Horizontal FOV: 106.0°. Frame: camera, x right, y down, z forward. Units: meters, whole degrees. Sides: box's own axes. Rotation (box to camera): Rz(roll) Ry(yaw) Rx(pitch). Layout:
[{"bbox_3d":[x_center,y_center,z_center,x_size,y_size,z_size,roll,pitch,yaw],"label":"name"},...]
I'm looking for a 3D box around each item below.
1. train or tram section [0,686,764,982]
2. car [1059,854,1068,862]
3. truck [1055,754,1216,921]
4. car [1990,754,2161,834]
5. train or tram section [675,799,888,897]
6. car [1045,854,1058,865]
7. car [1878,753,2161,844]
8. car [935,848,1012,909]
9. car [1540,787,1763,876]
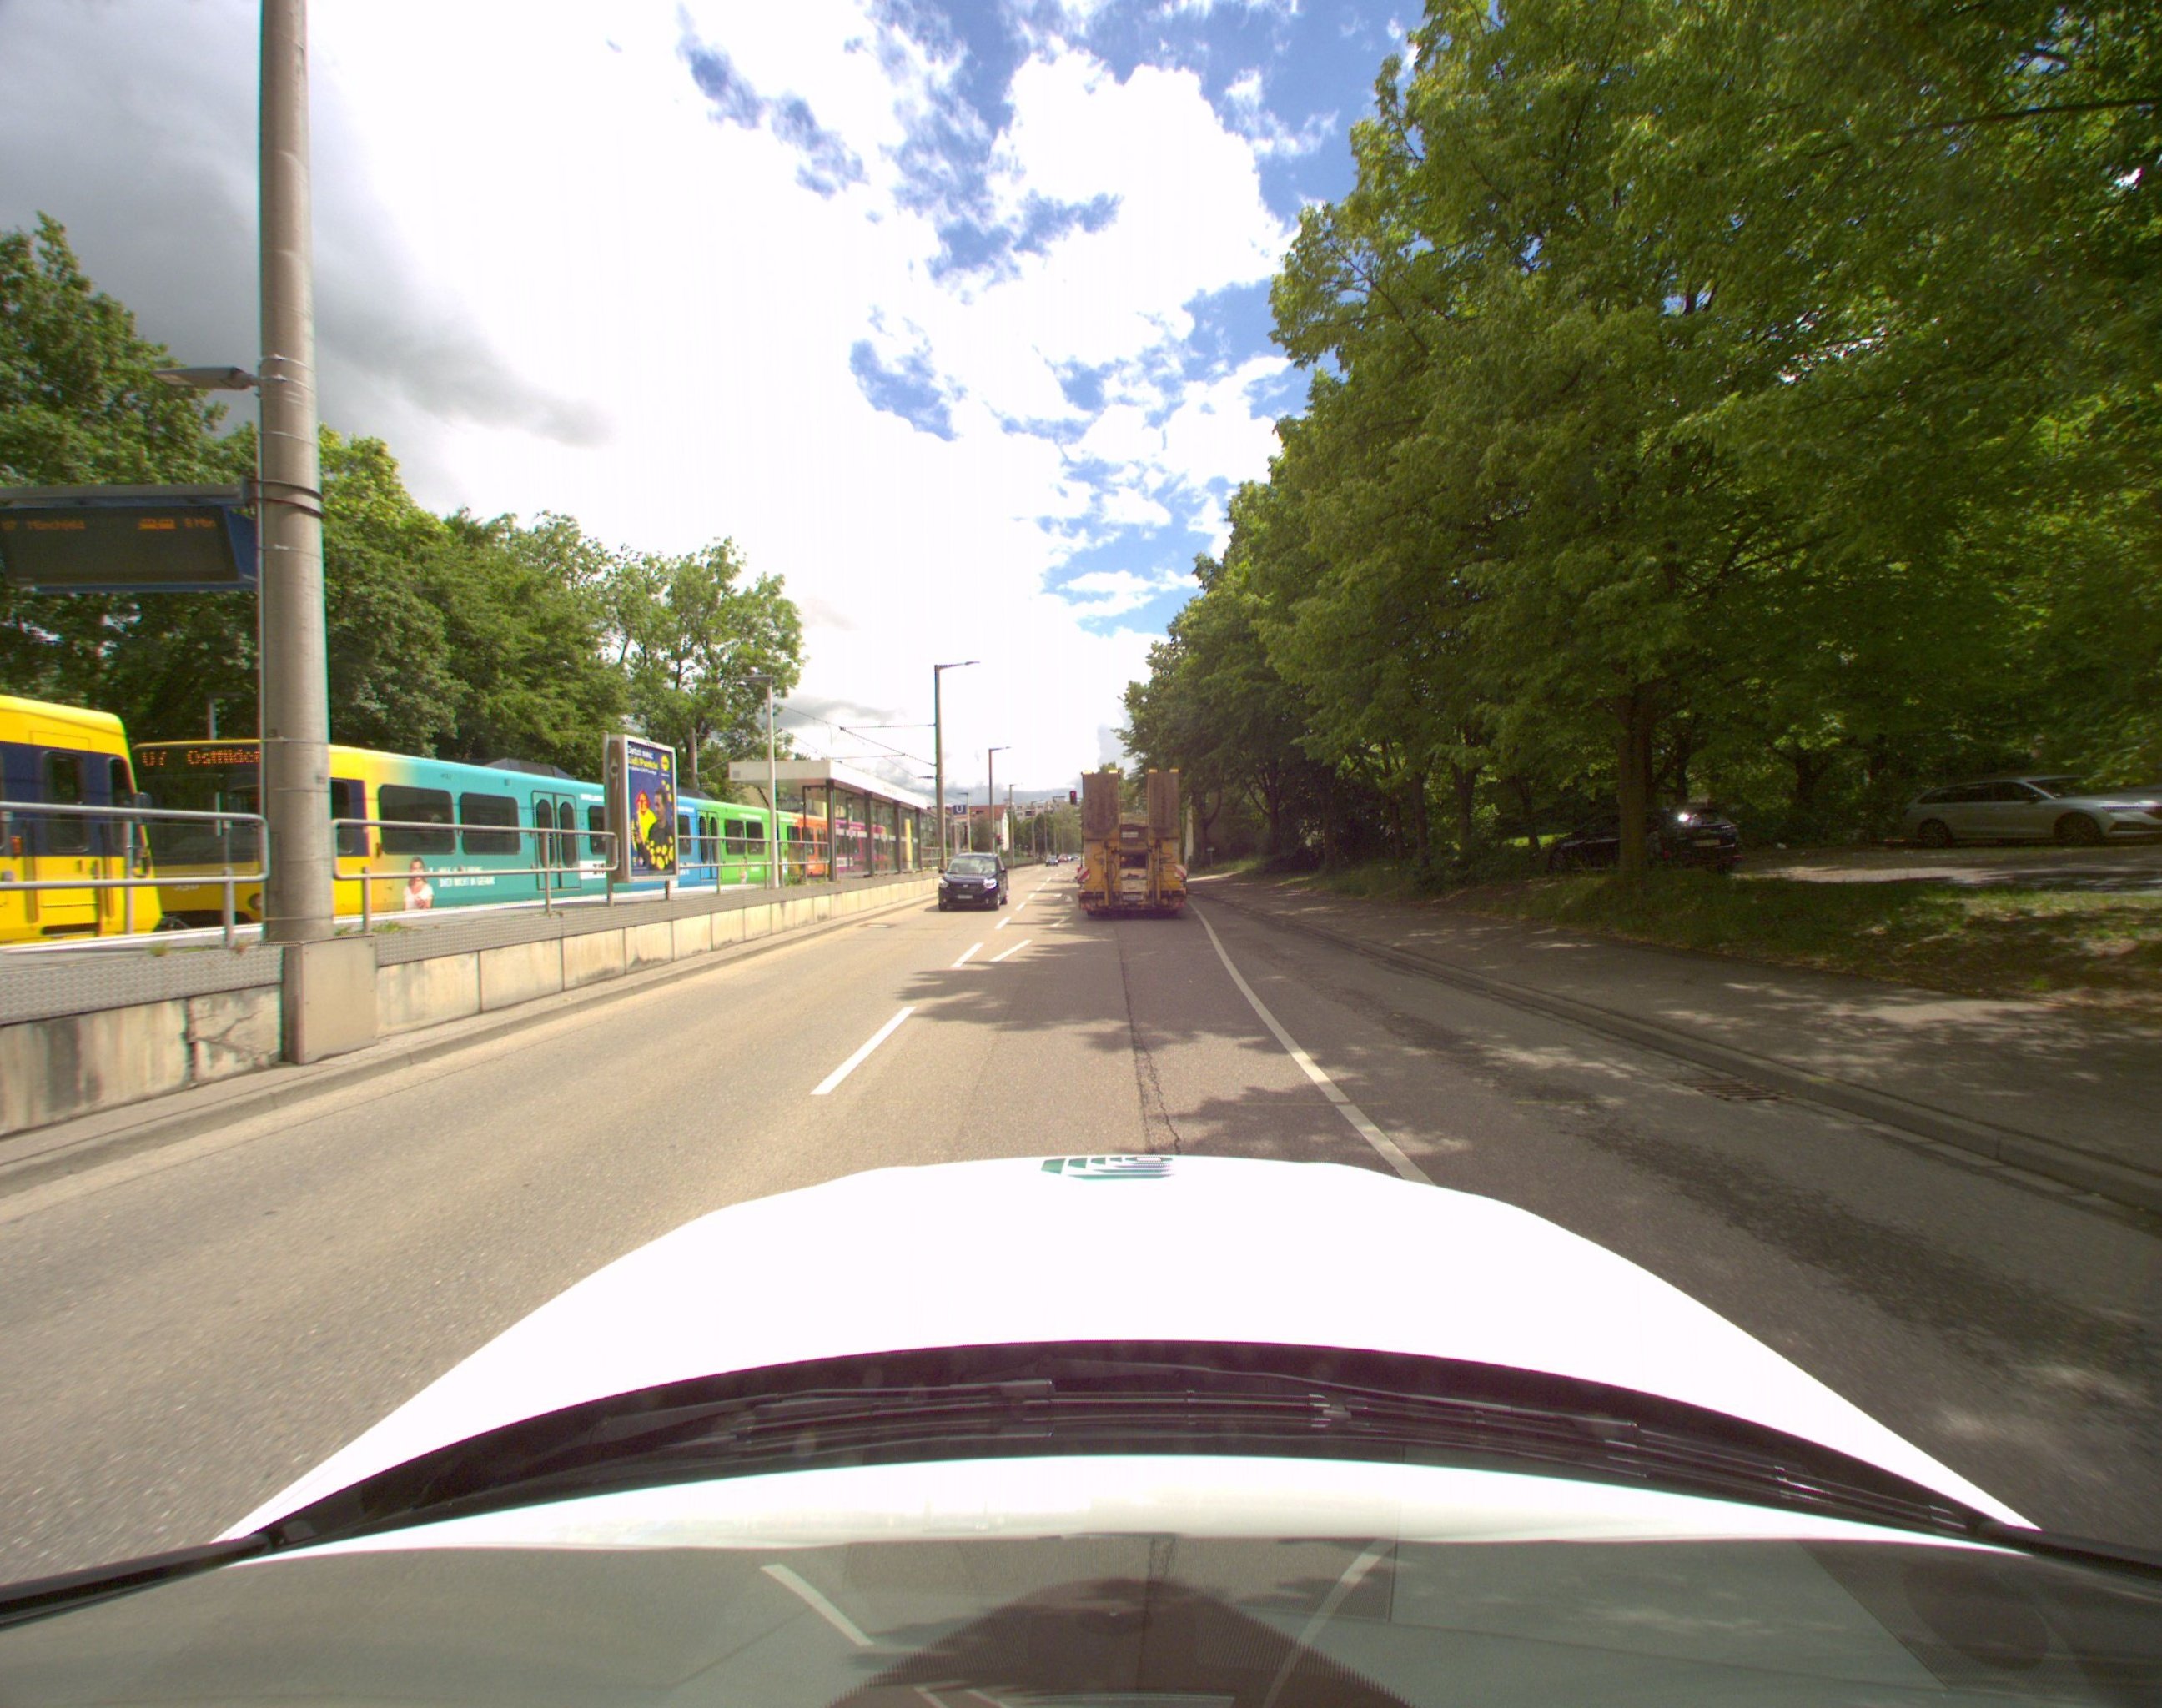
[{"bbox_3d":[-12.671,-0.227,19.132,3.098,3.465,19.192,0,0,0],"label":"train or tram section"},{"bbox_3d":[-3.372,0.732,153.825,1.662,1.453,3.677,0,-1,-1],"label":"car"},{"bbox_3d":[1.041,-0.384,25.511,3.394,3.732,13.723,-2,0,-3],"label":"truck"},{"bbox_3d":[22.550,-1.314,17.514,1.644,1.507,3.898,-5,0,3],"label":"car"},{"bbox_3d":[-12.802,-0.206,38.250,3.098,3.465,19.083,0,0,0],"label":"train or tram section"},{"bbox_3d":[-3.995,0.779,110.588,1.662,1.453,3.677,0,-1,-1],"label":"car"},{"bbox_3d":[19.760,-1.073,16.755,1.986,1.507,4.883,-5,0,3],"label":"car"},{"bbox_3d":[-3.146,0.669,24.579,1.715,1.682,4.386,0,0,0],"label":"car"},{"bbox_3d":[11.730,-0.411,17.150,1.709,1.507,4.160,-5,0,0],"label":"car"}]
